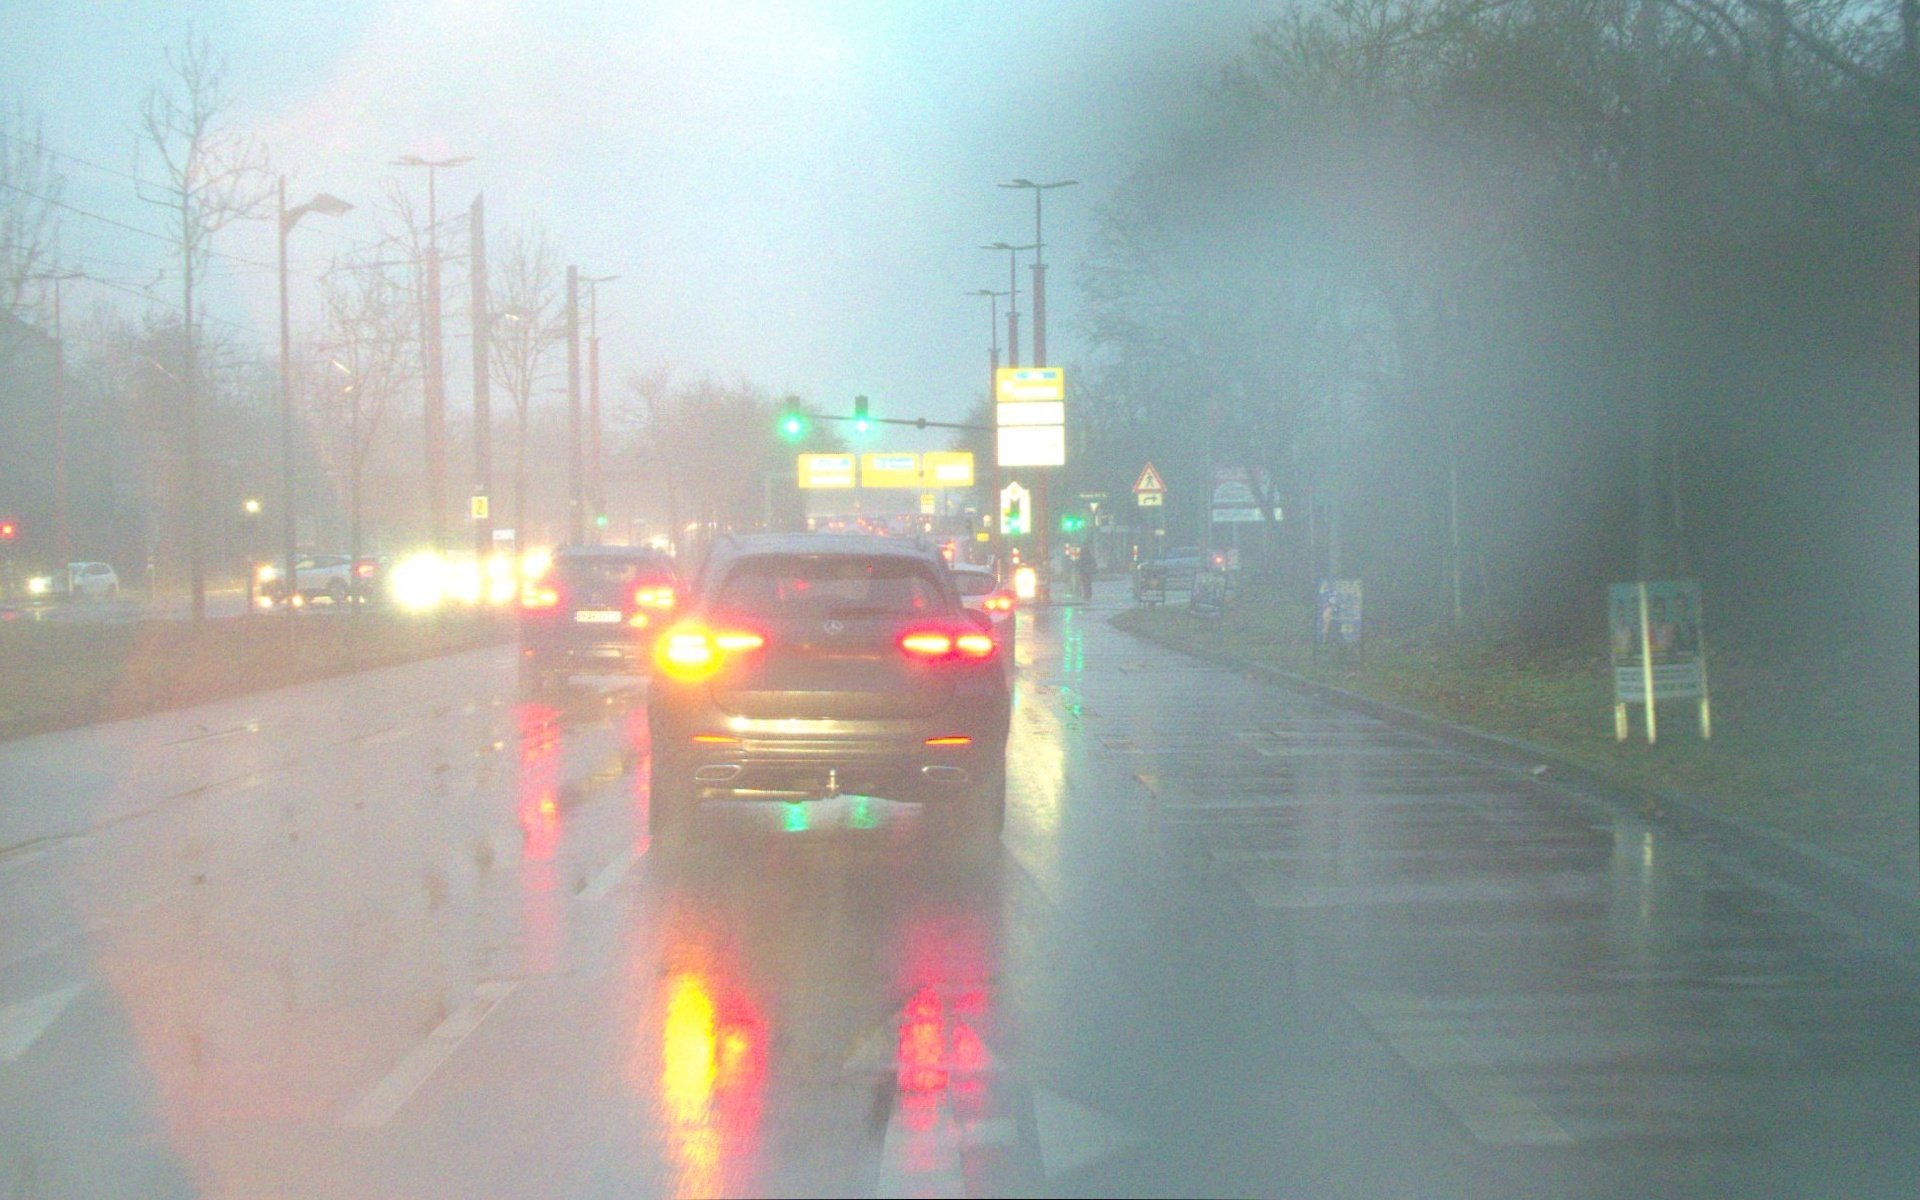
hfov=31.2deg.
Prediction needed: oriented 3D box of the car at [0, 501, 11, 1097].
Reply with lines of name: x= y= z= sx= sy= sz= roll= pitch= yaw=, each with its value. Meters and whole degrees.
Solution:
car: x=-3.475 y=0.576 z=7.490 sx=1.714 sy=1.642 sz=4.147 roll=0 pitch=1 yaw=-1

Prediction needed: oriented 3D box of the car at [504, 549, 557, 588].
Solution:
car: x=-17.970 y=-1.346 z=144.061 sx=1.856 sy=1.576 sz=4.080 roll=0 pitch=1 yaw=-3

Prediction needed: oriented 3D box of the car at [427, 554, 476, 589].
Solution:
car: x=-21.384 y=-1.224 z=144.671 sx=1.652 sy=1.415 sz=3.327 roll=0 pitch=1 yaw=-2

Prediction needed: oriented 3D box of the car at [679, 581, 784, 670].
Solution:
car: x=-4.416 y=0.469 z=66.863 sx=1.822 sy=1.642 sz=4.000 roll=0 pitch=1 yaw=-1

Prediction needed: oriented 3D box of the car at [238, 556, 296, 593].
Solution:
car: x=-28.853 y=-1.072 z=143.226 sx=1.618 sy=1.490 sz=4.017 roll=0 pitch=1 yaw=-1

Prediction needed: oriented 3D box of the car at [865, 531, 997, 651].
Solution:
car: x=-0.436 y=-0.155 z=50.169 sx=1.822 sy=1.642 sz=4.467 roll=-1 pitch=1 yaw=-1

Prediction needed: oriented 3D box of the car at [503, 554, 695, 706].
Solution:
car: x=-4.068 y=0.302 z=39.253 sx=1.822 sy=1.642 sz=4.000 roll=0 pitch=1 yaw=-1

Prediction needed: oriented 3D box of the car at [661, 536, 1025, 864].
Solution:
car: x=-0.617 y=0.471 z=19.503 sx=1.822 sy=1.642 sz=4.467 roll=0 pitch=1 yaw=-1
